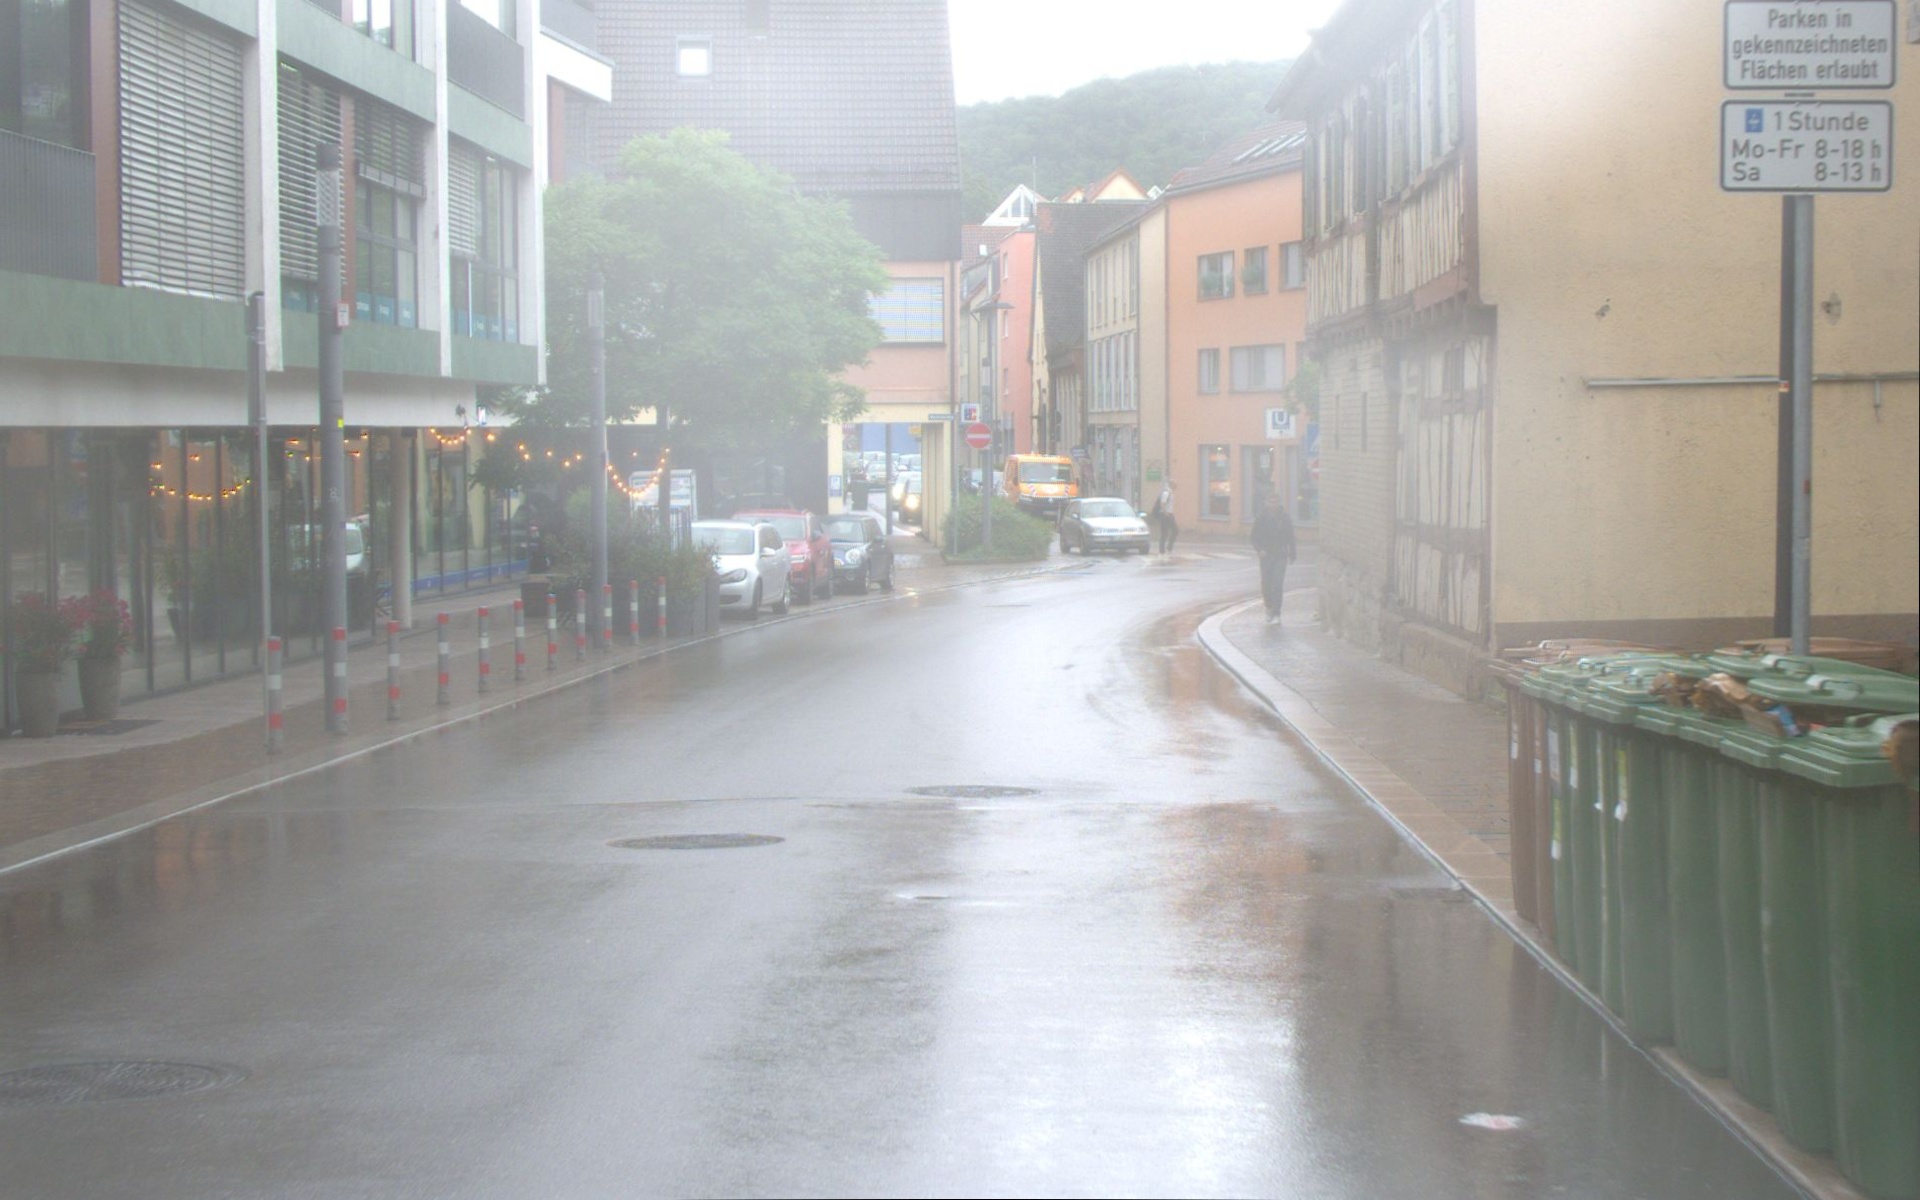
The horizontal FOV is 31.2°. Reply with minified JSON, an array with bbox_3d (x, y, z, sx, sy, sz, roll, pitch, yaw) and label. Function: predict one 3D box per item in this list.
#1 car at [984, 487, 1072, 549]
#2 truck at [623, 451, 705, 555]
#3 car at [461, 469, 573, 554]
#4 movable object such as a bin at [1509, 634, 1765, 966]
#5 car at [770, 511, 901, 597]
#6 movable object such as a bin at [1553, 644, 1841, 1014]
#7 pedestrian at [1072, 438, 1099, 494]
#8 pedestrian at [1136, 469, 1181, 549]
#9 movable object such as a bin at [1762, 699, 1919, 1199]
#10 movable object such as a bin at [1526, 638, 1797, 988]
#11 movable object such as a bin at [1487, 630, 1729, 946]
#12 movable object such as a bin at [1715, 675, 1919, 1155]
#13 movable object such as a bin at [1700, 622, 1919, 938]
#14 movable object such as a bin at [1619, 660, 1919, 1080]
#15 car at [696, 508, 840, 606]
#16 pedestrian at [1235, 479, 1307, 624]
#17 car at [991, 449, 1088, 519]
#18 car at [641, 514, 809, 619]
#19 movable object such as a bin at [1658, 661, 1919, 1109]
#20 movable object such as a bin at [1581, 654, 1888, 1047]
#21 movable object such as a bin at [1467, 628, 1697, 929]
[{"bbox_3d":[1.676,-2.076,86.261,1.714,1.453,3.911,0,2,-6],"label":"car"},{"bbox_3d":[-6.764,-2.247,78.854,1.597,2.055,3.194,-2,6,-1],"label":"truck"},{"bbox_3d":[-10.033,-2.033,78.150,1.812,1.612,4.001,0,6,3],"label":"car"},{"bbox_3d":[2.349,0.685,11.982,0.766,1.091,0.581,-1,1,1],"label":"movable object such as a bin"},{"bbox_3d":[-2.263,-0.869,63.336,1.715,1.453,3.909,1,2,9],"label":"car"},{"bbox_3d":[2.296,0.704,10.770,0.766,1.091,0.581,-1,1,1],"label":"movable object such as a bin"},{"bbox_3d":[4.532,-4.826,124.002,0.866,2.006,0.708,-1,2,-7],"label":"pedestrian"},{"bbox_3d":[4.749,-2.174,82.115,0.862,1.908,0.757,1,2,23],"label":"pedestrian"},{"bbox_3d":[2.249,0.785,7.694,0.740,1.091,0.657,-1,1,1],"label":"movable object such as a bin"},{"bbox_3d":[2.306,0.691,11.363,0.766,1.091,0.581,-1,1,1],"label":"movable object such as a bin"},{"bbox_3d":[2.361,0.675,12.575,0.766,1.091,0.581,-1,1,1],"label":"movable object such as a bin"},{"bbox_3d":[2.290,0.745,8.369,0.766,1.091,0.581,-1,1,1],"label":"movable object such as a bin"},{"bbox_3d":[3.162,0.645,12.567,0.766,1.091,0.627,-1,1,1],"label":"movable object such as a bin"},{"bbox_3d":[2.276,0.734,9.560,0.766,1.091,0.581,-1,1,1],"label":"movable object such as a bin"},{"bbox_3d":[-3.216,-0.756,58.393,1.787,1.571,4.106,-1,2,6],"label":"car"},{"bbox_3d":[4.117,-0.649,45.540,0.810,1.878,0.908,-2,2,0],"label":"pedestrian"},{"bbox_3d":[2.565,-3.764,112.059,2.103,2.139,4.869,-3,2,-11],"label":"car"},{"bbox_3d":[-3.544,-0.541,52.600,1.787,1.493,4.454,-1,2,6],"label":"car"},{"bbox_3d":[2.268,0.725,8.973,0.766,1.091,0.581,-1,1,1],"label":"movable object such as a bin"},{"bbox_3d":[2.277,0.725,10.161,0.766,1.091,0.581,-1,1,1],"label":"movable object such as a bin"},{"bbox_3d":[2.373,0.672,13.176,0.766,1.091,0.581,-1,1,1],"label":"movable object such as a bin"}]
